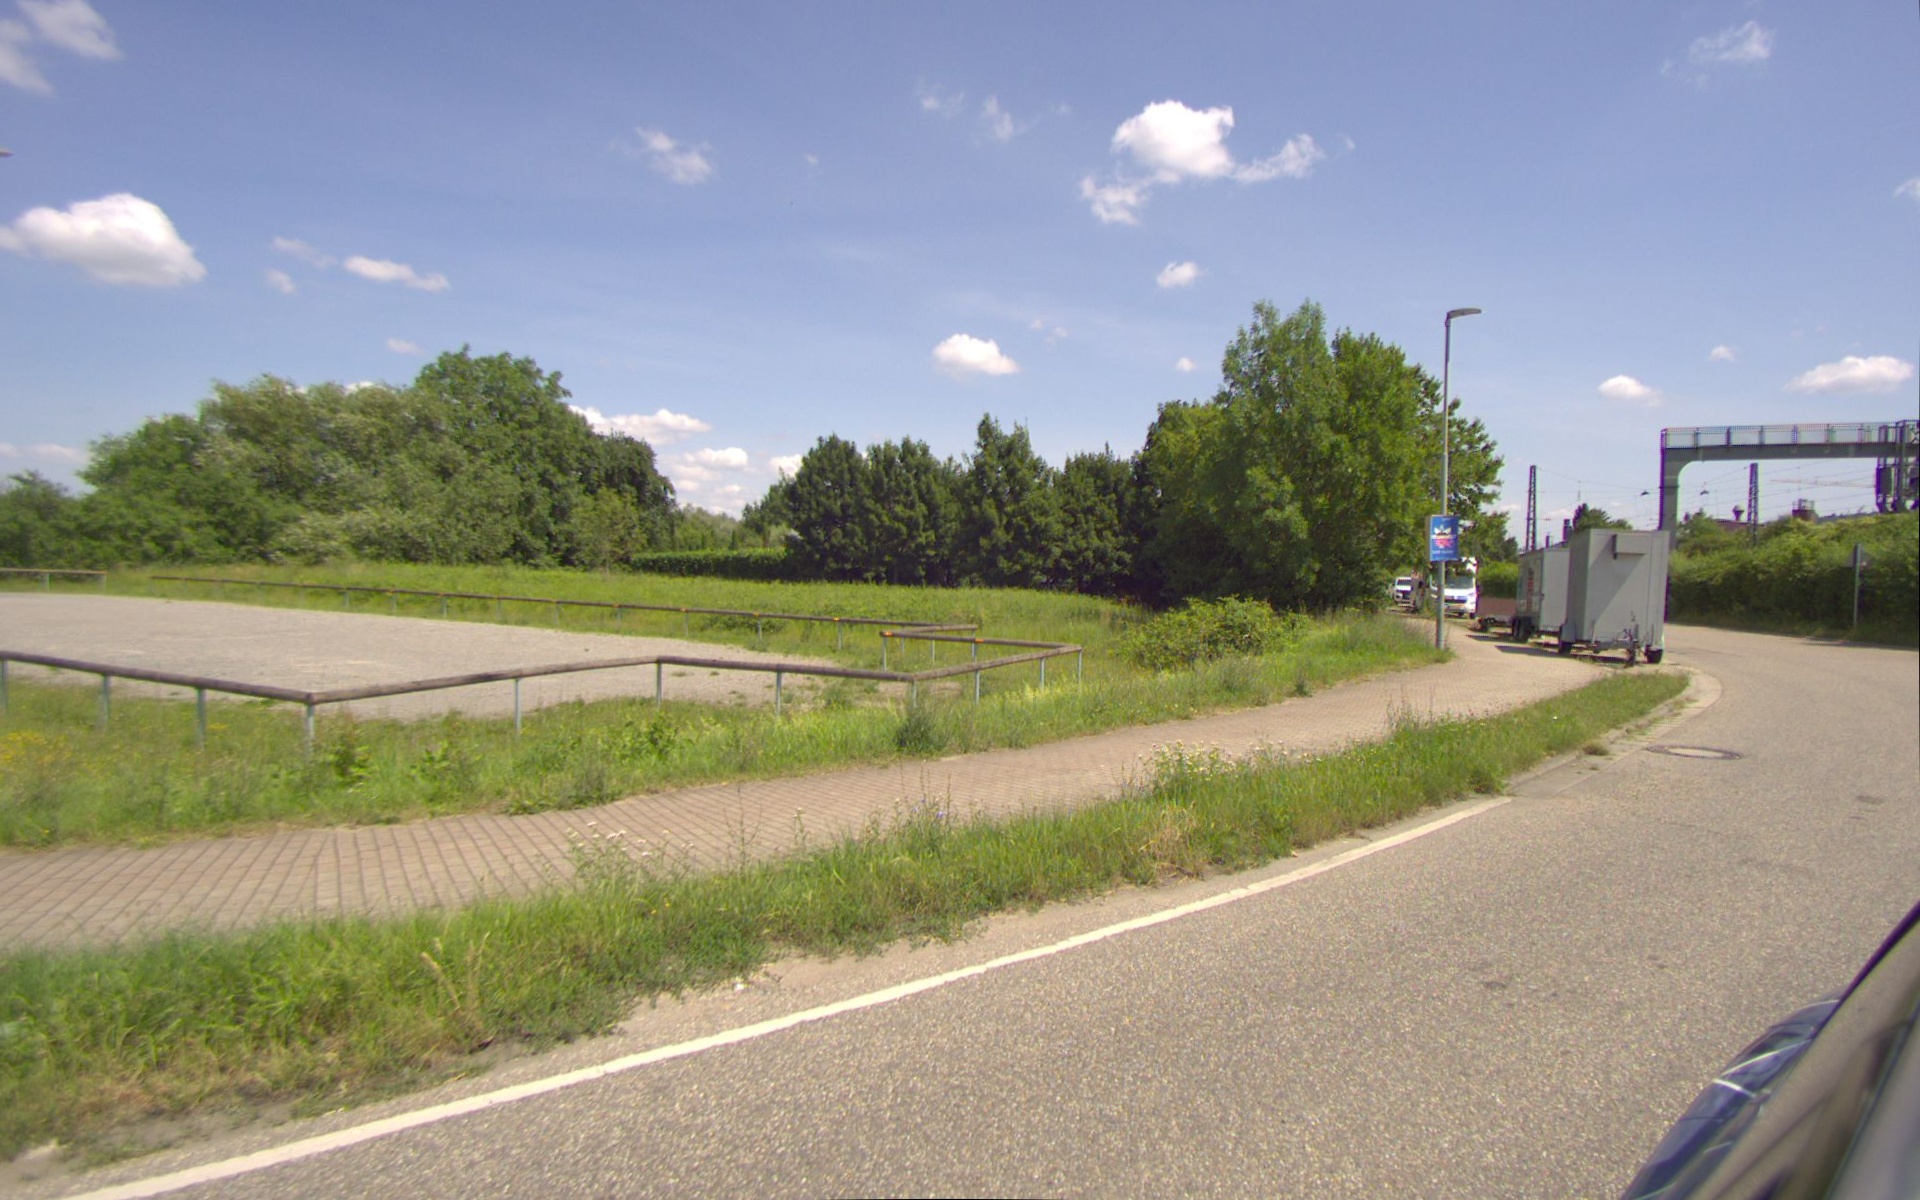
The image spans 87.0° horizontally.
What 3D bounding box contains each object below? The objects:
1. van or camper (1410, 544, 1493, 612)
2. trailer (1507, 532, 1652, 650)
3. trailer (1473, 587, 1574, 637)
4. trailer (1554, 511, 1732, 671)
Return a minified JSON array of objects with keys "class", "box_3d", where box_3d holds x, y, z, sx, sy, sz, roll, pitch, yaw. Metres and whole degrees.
[{"class":"van or camper","box_3d":[22.940,-1.062,47.570,2.416,2.861,7.578,3,2,19]},{"class":"trailer","box_3d":[15.088,-0.270,24.955,1.901,2.538,4.712,4,2,19]},{"class":"trailer","box_3d":[16.691,0.295,30.189,1.988,1.136,4.457,4,3,22]},{"class":"trailer","box_3d":[13.339,-0.231,20.122,1.919,2.676,5.140,4,3,24]}]
